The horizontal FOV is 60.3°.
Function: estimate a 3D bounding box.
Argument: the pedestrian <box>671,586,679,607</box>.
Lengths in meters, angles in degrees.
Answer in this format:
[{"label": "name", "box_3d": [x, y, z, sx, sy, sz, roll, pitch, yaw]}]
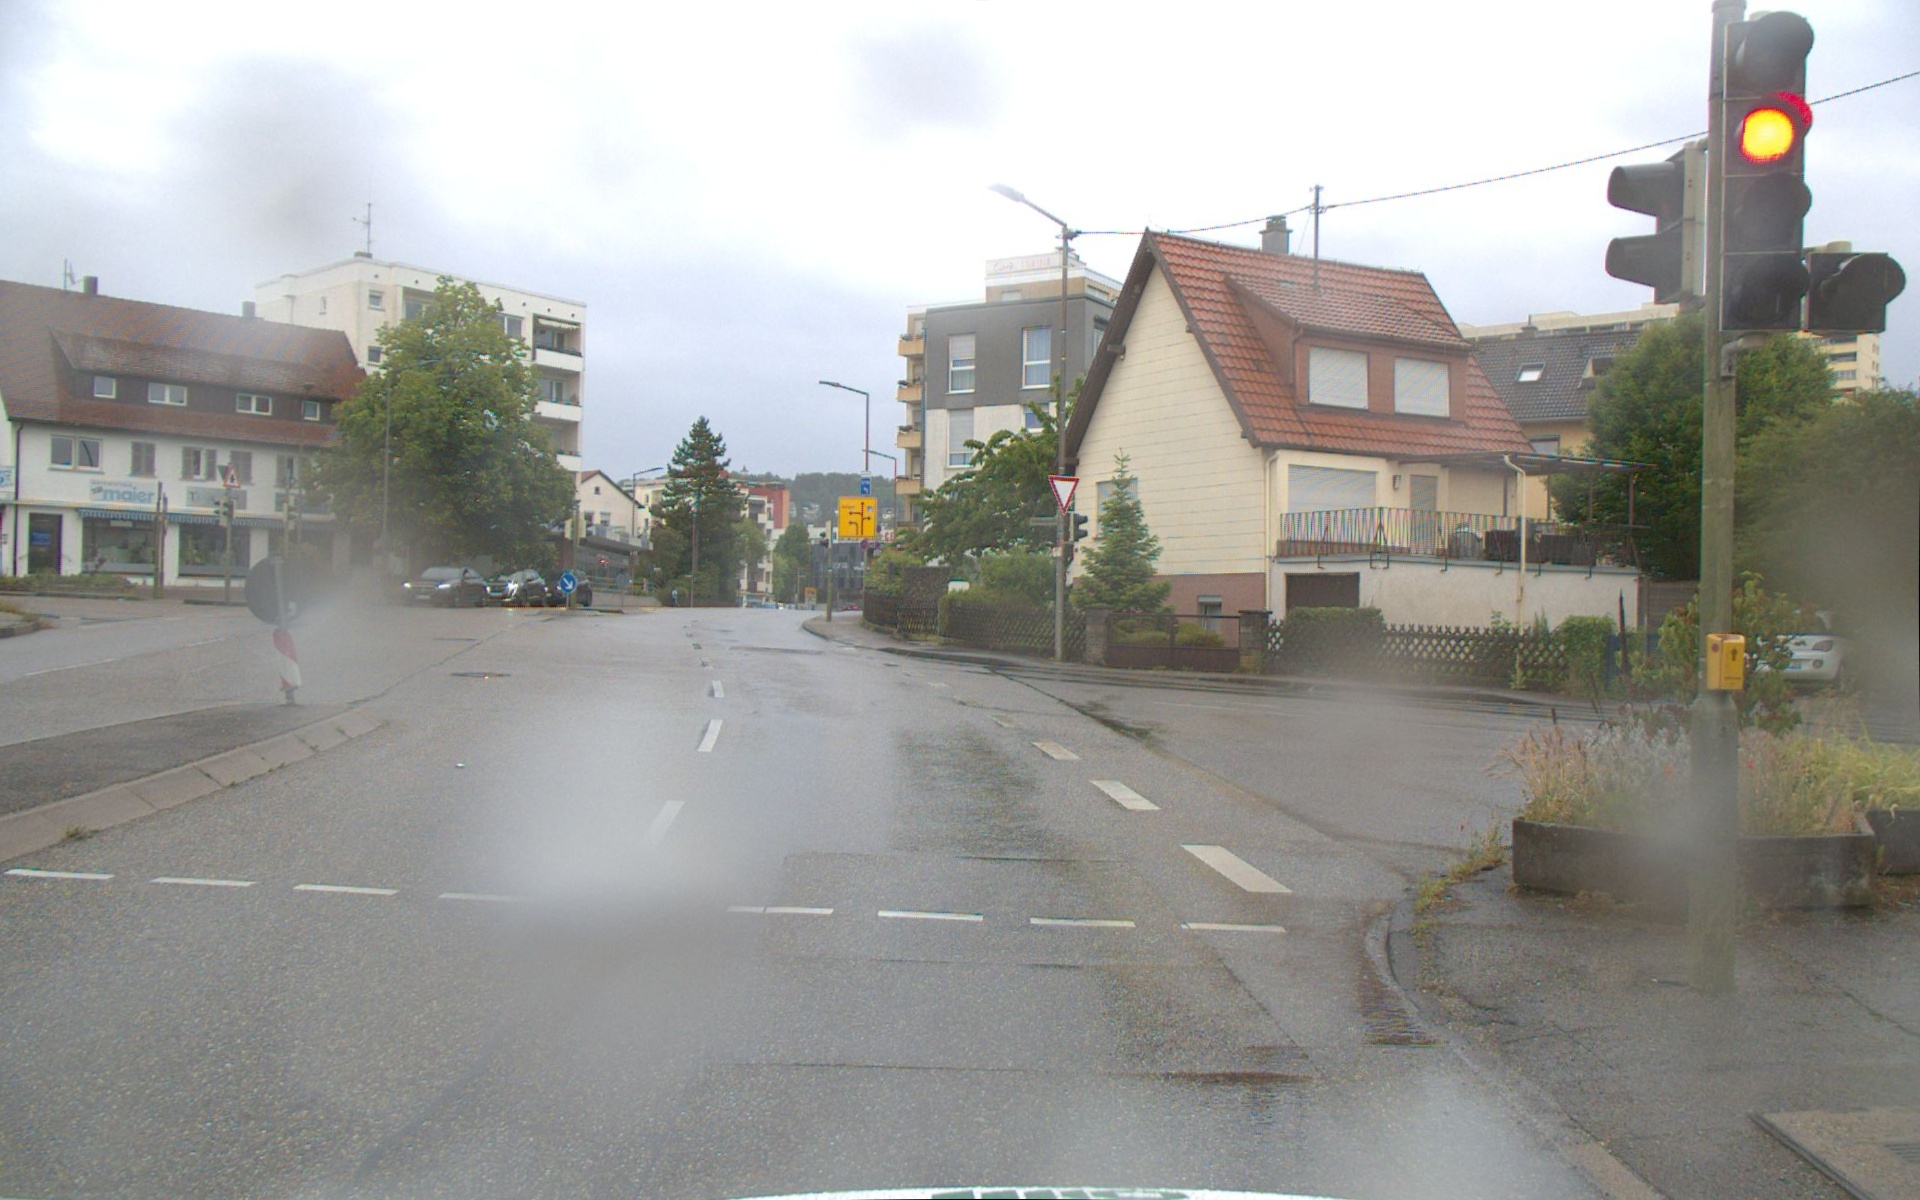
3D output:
[{"label": "pedestrian", "box_3d": [-23.450, -0.270, 136.076, 0.486, 1.687, 0.434, 1, 0, 5]}]

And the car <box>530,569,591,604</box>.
[{"label": "car", "box_3d": [-17.386, -0.580, 72.149, 1.742, 1.445, 3.830, 1, 1, -1]}]

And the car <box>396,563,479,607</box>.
[{"label": "car", "box_3d": [-18.348, -0.540, 58.262, 1.742, 1.445, 3.830, 1, 1, -1]}]

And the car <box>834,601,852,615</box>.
[{"label": "car", "box_3d": [-13.129, 0.872, 185.936, 1.776, 1.512, 4.189, 0, 1, 0]}]

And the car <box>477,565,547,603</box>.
[{"label": "car", "box_3d": [-17.748, -0.636, 65.687, 1.680, 1.411, 4.020, 1, 1, -1]}]

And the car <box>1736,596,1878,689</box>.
[{"label": "car", "box_3d": [15.565, 0.737, 30.296, 1.710, 1.541, 3.985, 2, 1, 36]}]
